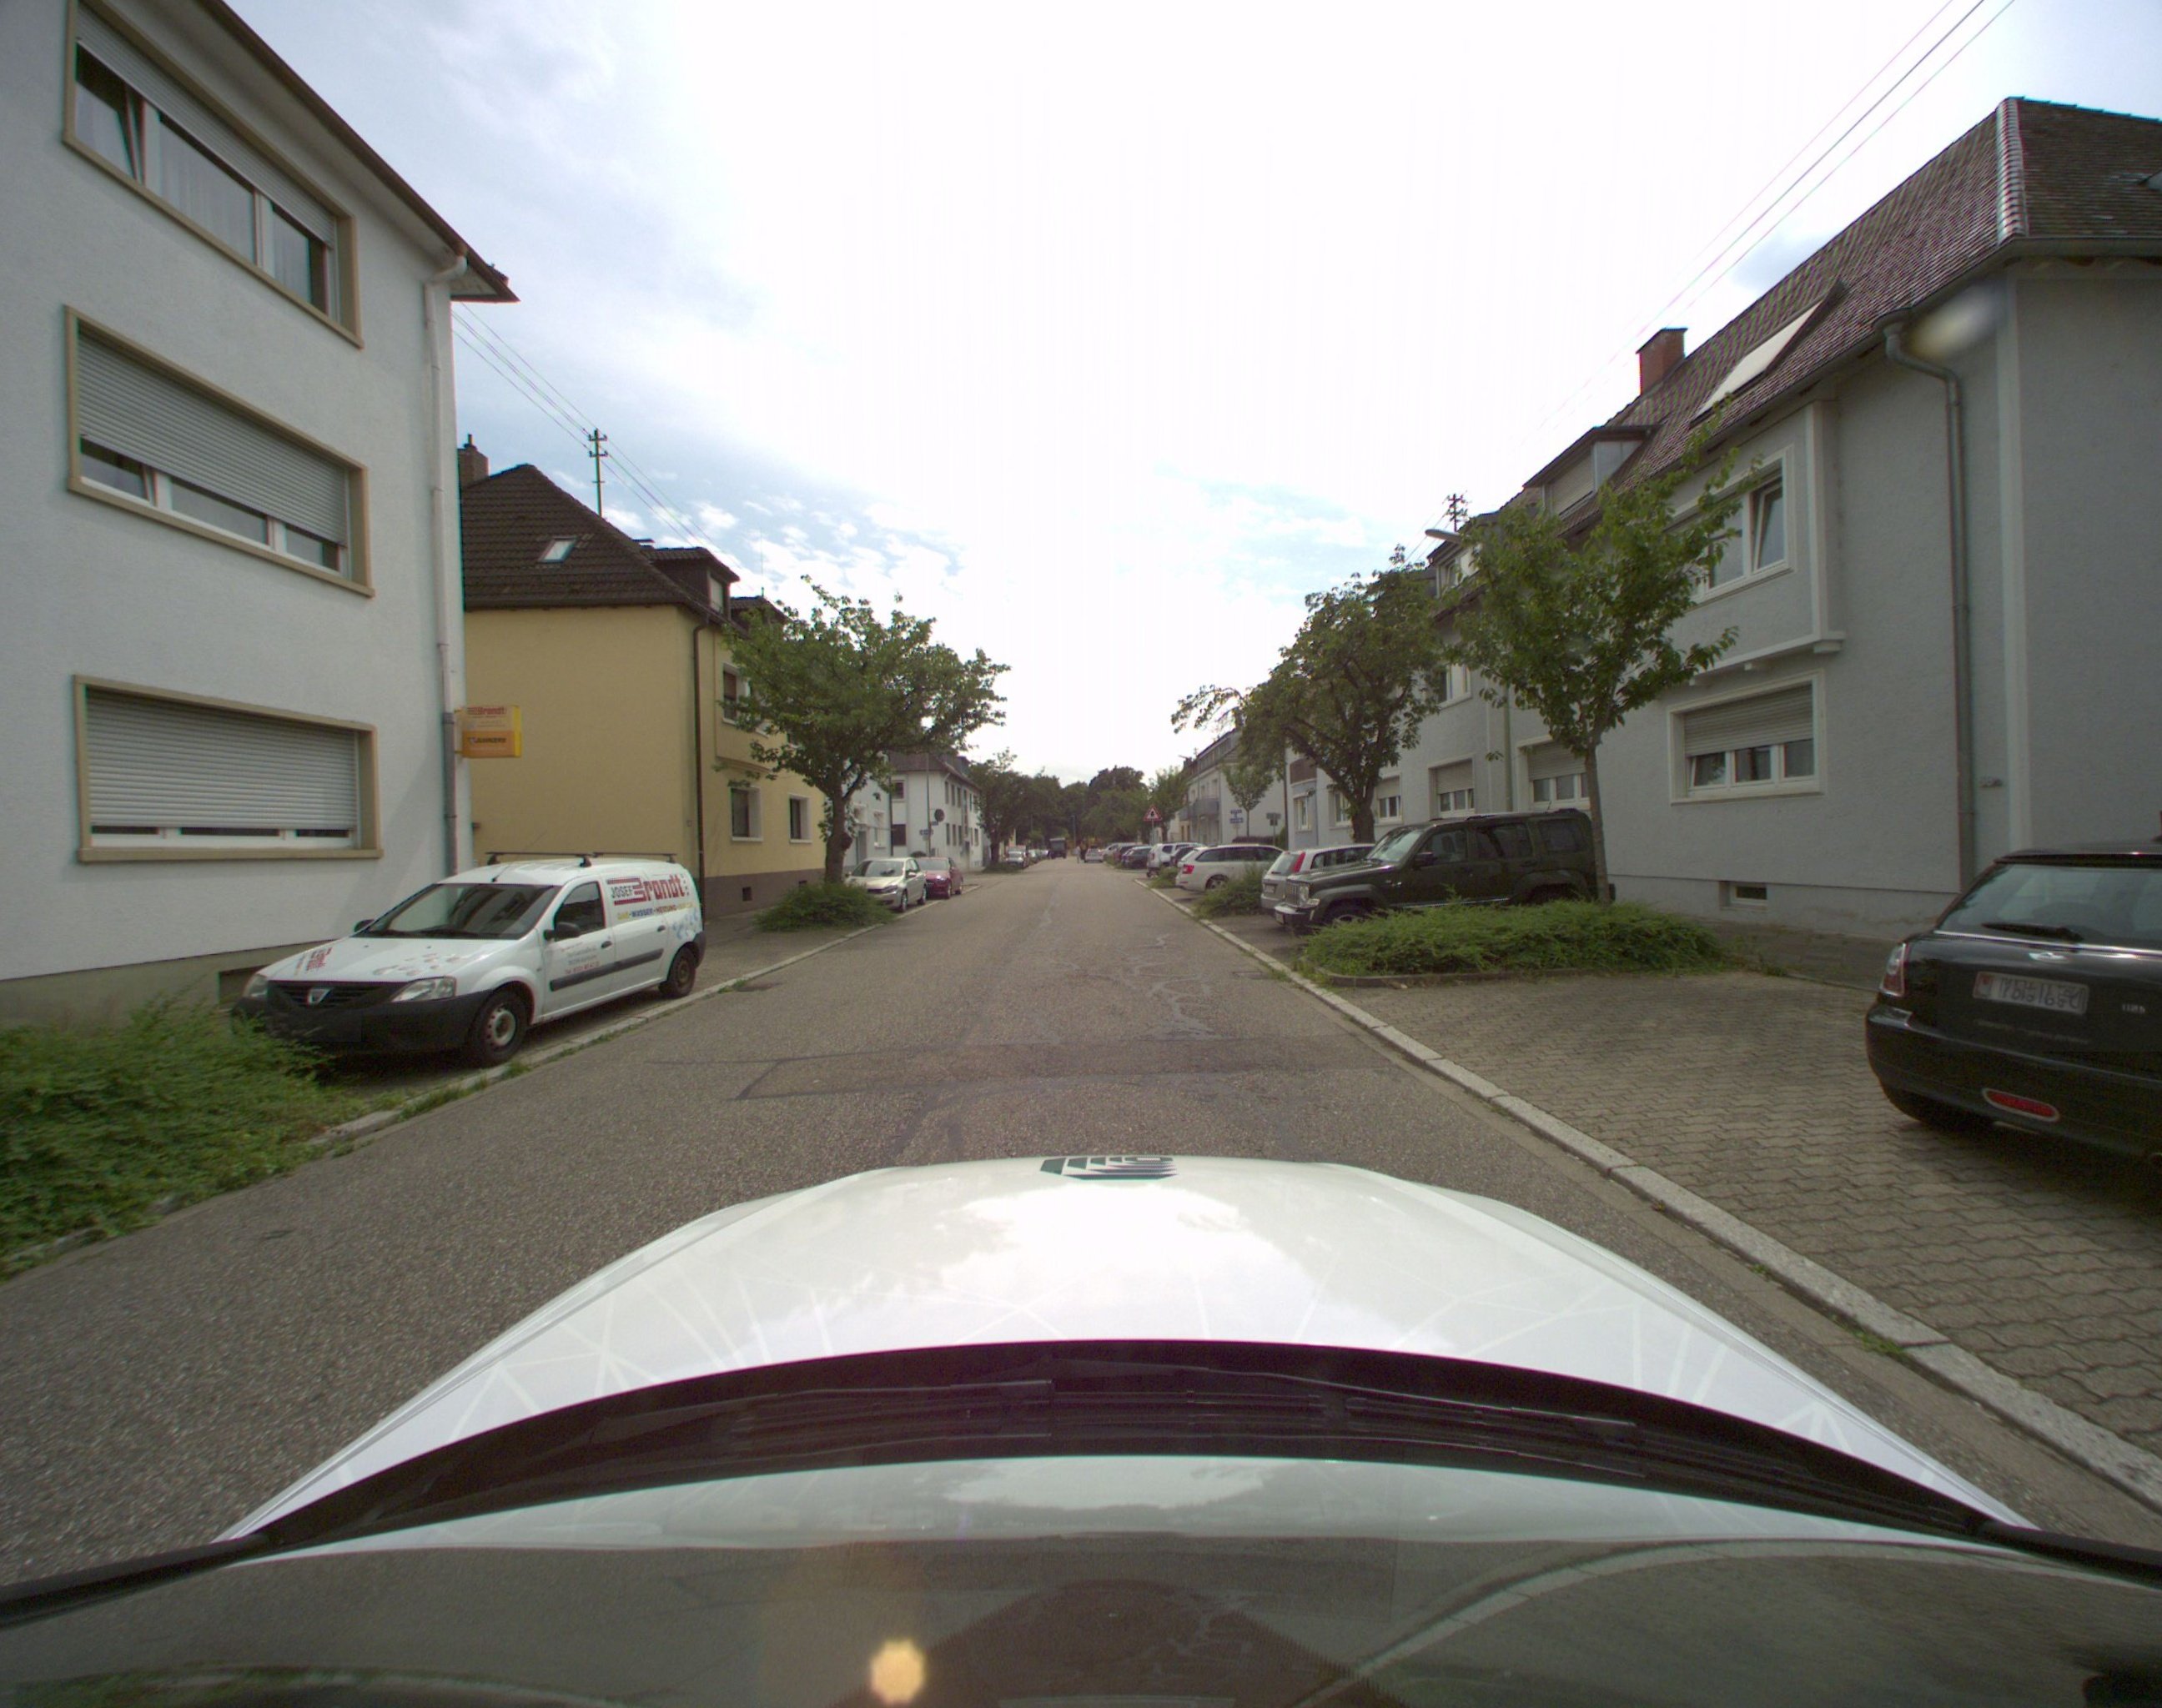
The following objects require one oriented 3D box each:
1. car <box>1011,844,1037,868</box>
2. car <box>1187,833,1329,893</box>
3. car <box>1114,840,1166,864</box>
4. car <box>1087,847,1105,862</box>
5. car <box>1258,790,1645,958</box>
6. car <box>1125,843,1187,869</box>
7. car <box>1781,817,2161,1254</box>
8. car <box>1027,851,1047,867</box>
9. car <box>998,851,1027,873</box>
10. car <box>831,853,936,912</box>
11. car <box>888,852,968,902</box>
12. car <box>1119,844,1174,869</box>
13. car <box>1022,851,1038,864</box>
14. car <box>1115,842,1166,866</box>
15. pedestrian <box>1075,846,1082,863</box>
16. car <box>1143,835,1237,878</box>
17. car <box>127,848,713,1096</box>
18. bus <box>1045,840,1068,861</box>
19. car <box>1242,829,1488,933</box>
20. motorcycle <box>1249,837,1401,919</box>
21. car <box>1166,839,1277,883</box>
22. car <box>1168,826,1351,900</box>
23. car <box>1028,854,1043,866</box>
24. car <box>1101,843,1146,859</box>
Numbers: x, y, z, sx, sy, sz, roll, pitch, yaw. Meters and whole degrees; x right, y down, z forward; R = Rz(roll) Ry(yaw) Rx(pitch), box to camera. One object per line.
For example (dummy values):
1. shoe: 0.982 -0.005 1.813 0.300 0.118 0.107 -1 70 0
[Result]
1. car: -5.025 0.161 72.314 1.987 2.013 4.519 -2 0 -1
2. car: 5.405 0.256 25.197 3.975 1.508 1.712 -4 0 -1
3. car: 4.695 -0.149 65.120 3.974 1.618 1.867 -4 0 0
4. car: 1.576 0.061 84.205 1.681 1.354 3.827 -4 0 1
5. car: 4.959 0.257 11.392 4.508 1.858 1.794 -4 0 2
6. car: 4.779 0.127 52.254 3.735 1.365 1.773 -4 0 0
7. car: 5.499 0.554 3.427 3.533 1.453 1.808 -4 0 -1
8. car: -4.260 0.474 79.299 1.646 1.461 3.551 -4 0 -1
9. car: -5.606 0.624 66.642 1.756 1.554 3.734 -4 0 3
10. car: -5.434 0.725 22.965 1.765 1.392 4.275 4 0 1
11. car: -5.312 0.746 28.862 1.871 1.486 4.511 -4 0 0
12. car: 4.421 0.190 54.921 3.506 1.412 1.558 -4 0 0
13. car: -5.599 0.386 90.025 1.647 1.377 3.718 -4 0 -2
14. car: 4.593 0.001 62.749 3.735 1.564 1.773 -4 0 0
15. pedestrian: -0.261 0.064 83.328 0.520 1.704 0.445 -4 0 3
16. car: 4.848 0.100 36.576 3.910 1.633 1.868 -4 0 0
17. car: -5.550 0.806 7.815 1.912 1.581 4.382 -4 0 0
18. bus: -3.742 -0.540 124.056 2.994 2.761 8.923 -4 0 0
19. car: 4.866 0.430 14.290 3.618 1.454 1.770 -4 0 -5
20. motorcycle: 4.829 0.457 16.242 2.696 1.464 1.030 -2 0 -5
21. car: 5.443 0.268 31.796 3.975 1.421 1.712 -4 0 -1
22. car: 4.848 0.230 22.640 4.599 1.663 1.892 -4 0 0
23. car: -5.297 0.688 95.089 1.535 1.301 3.718 -4 0 -2
24. car: 4.807 -0.324 92.578 4.962 1.518 1.767 -4 0 -2
